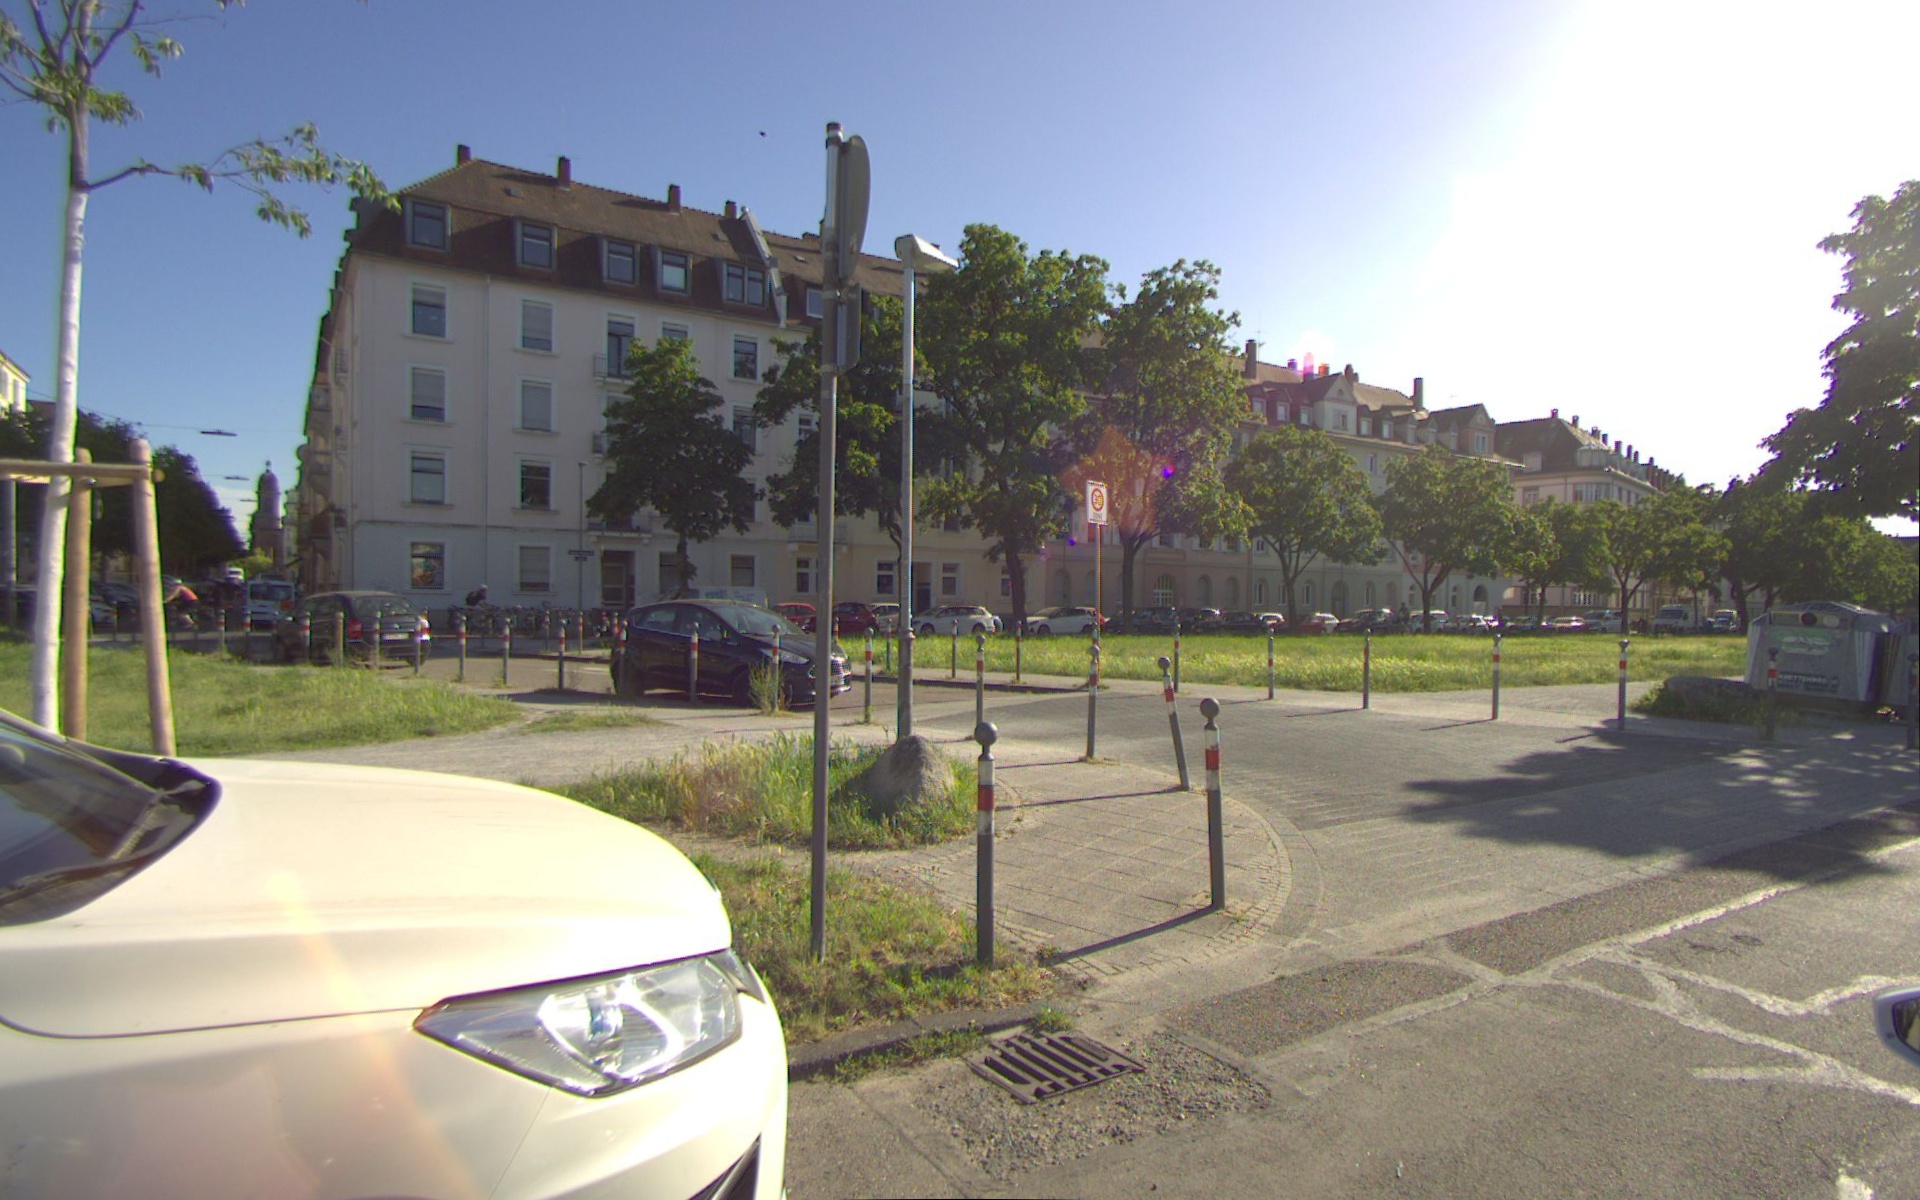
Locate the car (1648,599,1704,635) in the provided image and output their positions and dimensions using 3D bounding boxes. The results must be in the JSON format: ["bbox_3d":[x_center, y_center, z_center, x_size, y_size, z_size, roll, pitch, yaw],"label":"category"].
[{"bbox_3d":[57.523,1.353,80.666,5.567,2.780,1.903,1,0,-35],"label":"car"}]

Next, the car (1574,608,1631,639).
[{"bbox_3d":[47.253,1.736,73.841,4.957,2.243,1.683,1,0,-35],"label":"car"}]

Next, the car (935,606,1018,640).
[{"bbox_3d":[0.864,1.162,50.965,3.819,1.636,1.874,1,0,-33],"label":"car"}]

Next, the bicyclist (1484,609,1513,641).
[{"bbox_3d":[32.353,1.500,60.326,1.434,1.862,0.936,2,-1,-33],"label":"bicyclist"}]

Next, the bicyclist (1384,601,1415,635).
[{"bbox_3d":[24.217,0.994,55.375,1.435,1.862,0.935,2,-1,-34],"label":"bicyclist"}]

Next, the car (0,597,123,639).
[{"bbox_3d":[-35.449,0.704,39.521,3.628,1.541,1.697,1,0,-33],"label":"car"}]

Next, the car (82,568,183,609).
[{"bbox_3d":[-54.107,-0.734,65.803,4.908,2.553,1.936,1,0,-36],"label":"car"}]

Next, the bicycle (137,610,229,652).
[{"bbox_3d":[-24.856,0.976,32.180,2.233,1.279,0.837,1,0,-33],"label":"bicycle"}]

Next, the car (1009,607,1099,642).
[{"bbox_3d":[4.368,1.116,46.490,4.039,1.547,1.683,1,0,-34],"label":"car"}]

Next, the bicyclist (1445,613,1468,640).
[{"bbox_3d":[28.201,1.500,57.070,0.932,1.457,0.734,-1,2,-32],"label":"bicyclist"}]

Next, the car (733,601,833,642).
[{"bbox_3d":[-7.999,0.955,45.456,4.008,1.775,1.983,1,0,-31],"label":"car"}]

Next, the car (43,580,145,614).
[{"bbox_3d":[-42.146,-0.134,48.983,3.580,1.541,1.841,1,0,-36],"label":"car"}]

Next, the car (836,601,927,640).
[{"bbox_3d":[-3.739,0.981,48.111,3.957,1.780,1.852,1,0,-33],"label":"car"}]

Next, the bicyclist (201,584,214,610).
[{"bbox_3d":[-41.026,-0.175,54.788,0.528,1.382,0.778,1,0,-35],"label":"bicyclist"}]

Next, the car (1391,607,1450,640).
[{"bbox_3d":[32.687,1.653,71.263,4.417,2.289,1.765,1,0,-34],"label":"car"}]

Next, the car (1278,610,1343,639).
[{"bbox_3d":[22.685,1.600,65.014,3.983,1.775,1.930,1,0,-33],"label":"car"}]

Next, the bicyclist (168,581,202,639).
[{"bbox_3d":[-24.826,0.316,32.188,0.793,1.827,0.669,1,0,-32],"label":"bicyclist"}]

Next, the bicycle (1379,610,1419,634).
[{"bbox_3d":[24.204,1.215,55.334,2.608,1.269,0.805,1,0,-35],"label":"bicycle"}]

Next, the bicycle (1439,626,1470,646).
[{"bbox_3d":[28.121,2.018,57.096,1.935,1.093,0.727,1,0,-34],"label":"bicycle"}]

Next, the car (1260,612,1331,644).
[{"bbox_3d":[18.600,1.525,55.580,4.039,1.709,1.621,1,0,-35],"label":"car"}]

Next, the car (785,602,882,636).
[{"bbox_3d":[-5.078,0.761,40.385,3.490,1.296,1.683,1,0,-34],"label":"car"}]

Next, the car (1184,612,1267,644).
[{"bbox_3d":[13.949,1.437,52.662,4.482,1.570,1.745,1,0,-35],"label":"car"}]

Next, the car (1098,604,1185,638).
[{"bbox_3d":[8.926,1.037,49.167,4.310,1.570,1.621,1,0,-35],"label":"car"}]

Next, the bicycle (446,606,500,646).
[{"bbox_3d":[-16.247,0.848,33.576,0.700,1.275,2.154,1,0,1],"label":"bicycle"}]

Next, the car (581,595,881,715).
[{"bbox_3d":[-3.418,0.685,14.714,4.275,1.428,1.914,1,2,35],"label":"car"}]

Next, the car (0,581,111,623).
[{"bbox_3d":[-39.269,0.084,43.063,4.199,1.724,1.690,1,0,-35],"label":"car"}]

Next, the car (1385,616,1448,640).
[{"bbox_3d":[28.036,1.707,61.628,3.731,1.448,1.685,1,0,-31],"label":"car"}]

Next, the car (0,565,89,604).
[{"bbox_3d":[-38.157,-0.627,41.125,3.580,1.541,1.691,1,0,-36],"label":"car"}]

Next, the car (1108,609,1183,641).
[{"bbox_3d":[10.528,1.390,56.996,3.952,1.724,1.838,1,0,-30],"label":"car"}]

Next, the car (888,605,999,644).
[{"bbox_3d":[-0.667,1.027,43.227,4.650,1.582,1.683,1,0,-35],"label":"car"}]

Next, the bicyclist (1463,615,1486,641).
[{"bbox_3d":[28.742,1.569,56.107,0.932,1.456,0.734,2,-1,-32],"label":"bicyclist"}]

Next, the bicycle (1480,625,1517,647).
[{"bbox_3d":[32.364,2.156,60.384,2.606,1.269,0.805,1,0,-34],"label":"bicycle"}]

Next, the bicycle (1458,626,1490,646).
[{"bbox_3d":[28.700,2.007,56.056,1.935,1.093,0.727,1,0,-34],"label":"bicycle"}]

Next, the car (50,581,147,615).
[{"bbox_3d":[-43.771,-0.095,51.131,3.580,1.662,1.813,1,0,-36],"label":"car"}]

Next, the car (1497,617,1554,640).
[{"bbox_3d":[38.577,1.929,68.542,3.732,1.459,1.836,1,0,-32],"label":"car"}]

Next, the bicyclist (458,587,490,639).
[{"bbox_3d":[-16.254,0.418,33.634,0.619,1.713,0.879,1,0,1],"label":"bicyclist"}]

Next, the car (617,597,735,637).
[{"bbox_3d":[-12.019,0.711,42.632,4.409,1.608,1.980,1,0,-36],"label":"car"}]

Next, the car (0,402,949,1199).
[{"bbox_3d":[-2.268,0.643,1.199,4.237,1.669,1.748,1,-2,-31],"label":"car"}]

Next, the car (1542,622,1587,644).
[{"bbox_3d":[42.518,2.335,70.639,3.199,1.459,1.507,1,0,-34],"label":"car"}]

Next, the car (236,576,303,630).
[{"bbox_3d":[-27.866,0.093,40.605,2.119,2.040,4.532,1,0,-34],"label":"car"}]

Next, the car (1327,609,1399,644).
[{"bbox_3d":[23.626,1.548,58.822,4.415,1.933,1.725,1,0,-35],"label":"car"}]

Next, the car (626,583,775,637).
[{"bbox_3d":[-9.743,0.382,37.835,5.046,1.897,2.068,1,0,-34],"label":"car"}]

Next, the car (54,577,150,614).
[{"bbox_3d":[-45.193,-0.231,53.031,3.677,1.859,1.936,1,0,-36],"label":"car"}]

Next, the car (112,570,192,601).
[{"bbox_3d":[-65.766,-1.164,81.859,4.908,2.427,1.936,1,0,-36],"label":"car"}]

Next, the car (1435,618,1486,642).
[{"bbox_3d":[31.942,1.918,64.121,3.303,1.459,1.373,1,0,-31],"label":"car"}]

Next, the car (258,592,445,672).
[{"bbox_3d":[-13.341,0.638,21.963,4.276,1.597,1.923,0,0,35],"label":"car"}]
